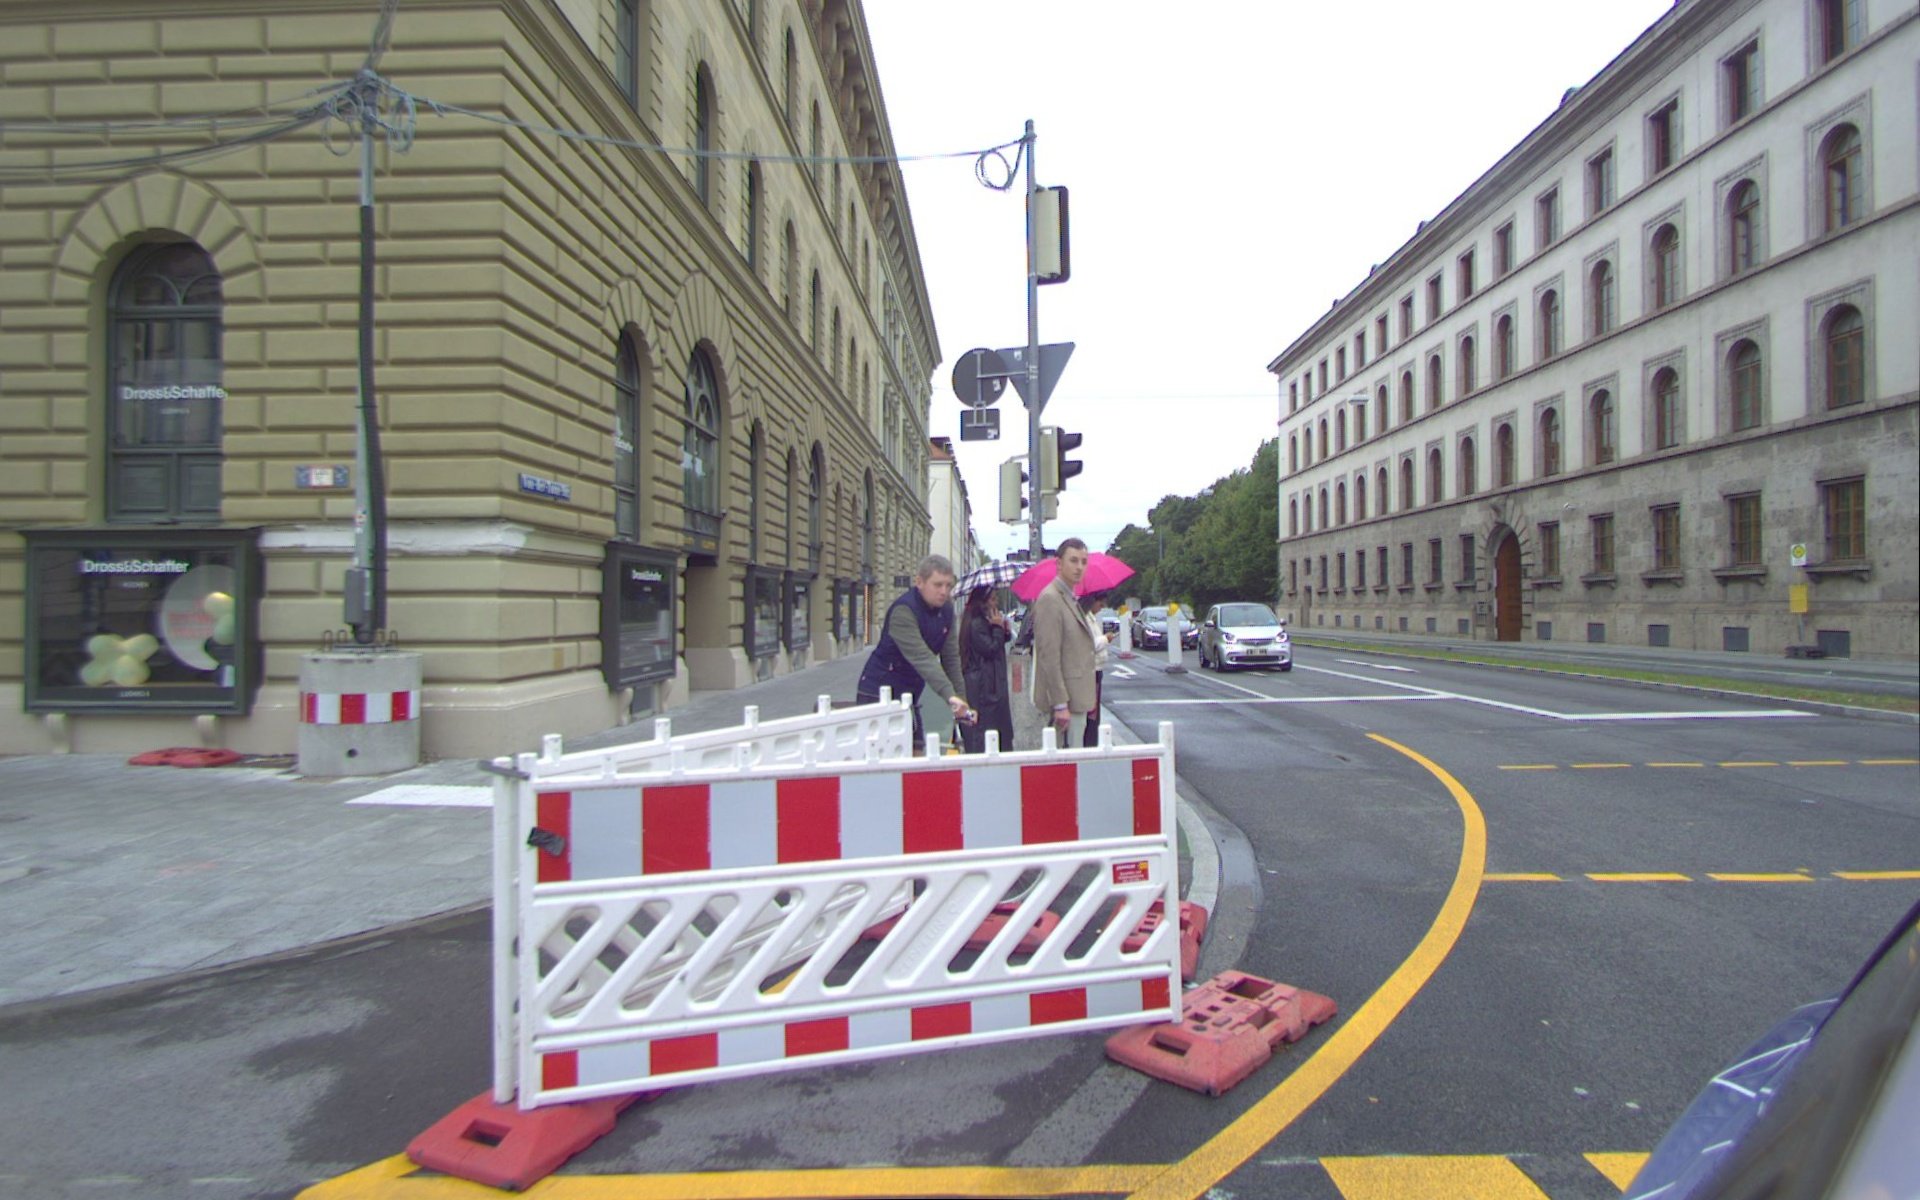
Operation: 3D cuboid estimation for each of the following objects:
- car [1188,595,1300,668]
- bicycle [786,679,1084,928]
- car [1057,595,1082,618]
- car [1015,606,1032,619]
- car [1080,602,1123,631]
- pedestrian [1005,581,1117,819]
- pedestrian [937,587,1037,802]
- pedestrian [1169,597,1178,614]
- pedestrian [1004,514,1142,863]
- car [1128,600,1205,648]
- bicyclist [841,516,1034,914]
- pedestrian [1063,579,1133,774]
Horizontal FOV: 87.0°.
[{"bbox_3d":[6.562,0.696,23.786,1.604,1.522,3.997,-1,-1,2],"label":"car"},{"bbox_3d":[-0.188,0.974,5.326,0.577,1.024,1.651,-1,-1,-44],"label":"bicycle"},{"bbox_3d":[9.787,0.604,91.055,1.963,2.039,3.997,0,-1,3],"label":"car"},{"bbox_3d":[6.742,1.340,107.871,1.709,1.338,3.997,-1,-1,2],"label":"car"},{"bbox_3d":[8.055,0.928,57.909,1.963,1.577,4.384,-1,0,2],"label":"car"},{"bbox_3d":[0.701,0.680,7.095,0.692,1.587,0.540,-2,-1,5],"label":"pedestrian"},{"bbox_3d":[0.223,0.707,7.897,0.692,1.587,0.680,-2,-1,5],"label":"pedestrian"},{"bbox_3d":[27.251,0.711,129.113,0.850,2.039,0.758,-1,-1,-29],"label":"pedestrian"},{"bbox_3d":[0.660,0.495,5.916,0.693,1.909,0.639,-2,-1,8],"label":"pedestrian"},{"bbox_3d":[7.104,0.798,35.219,1.888,1.459,4.303,-3,-1,2],"label":"car"},{"bbox_3d":[-0.127,0.547,5.260,0.558,1.877,0.797,-1,-2,-45],"label":"bicyclist"},{"bbox_3d":[1.205,0.649,8.925,0.524,1.640,0.673,-2,-1,5],"label":"pedestrian"}]
